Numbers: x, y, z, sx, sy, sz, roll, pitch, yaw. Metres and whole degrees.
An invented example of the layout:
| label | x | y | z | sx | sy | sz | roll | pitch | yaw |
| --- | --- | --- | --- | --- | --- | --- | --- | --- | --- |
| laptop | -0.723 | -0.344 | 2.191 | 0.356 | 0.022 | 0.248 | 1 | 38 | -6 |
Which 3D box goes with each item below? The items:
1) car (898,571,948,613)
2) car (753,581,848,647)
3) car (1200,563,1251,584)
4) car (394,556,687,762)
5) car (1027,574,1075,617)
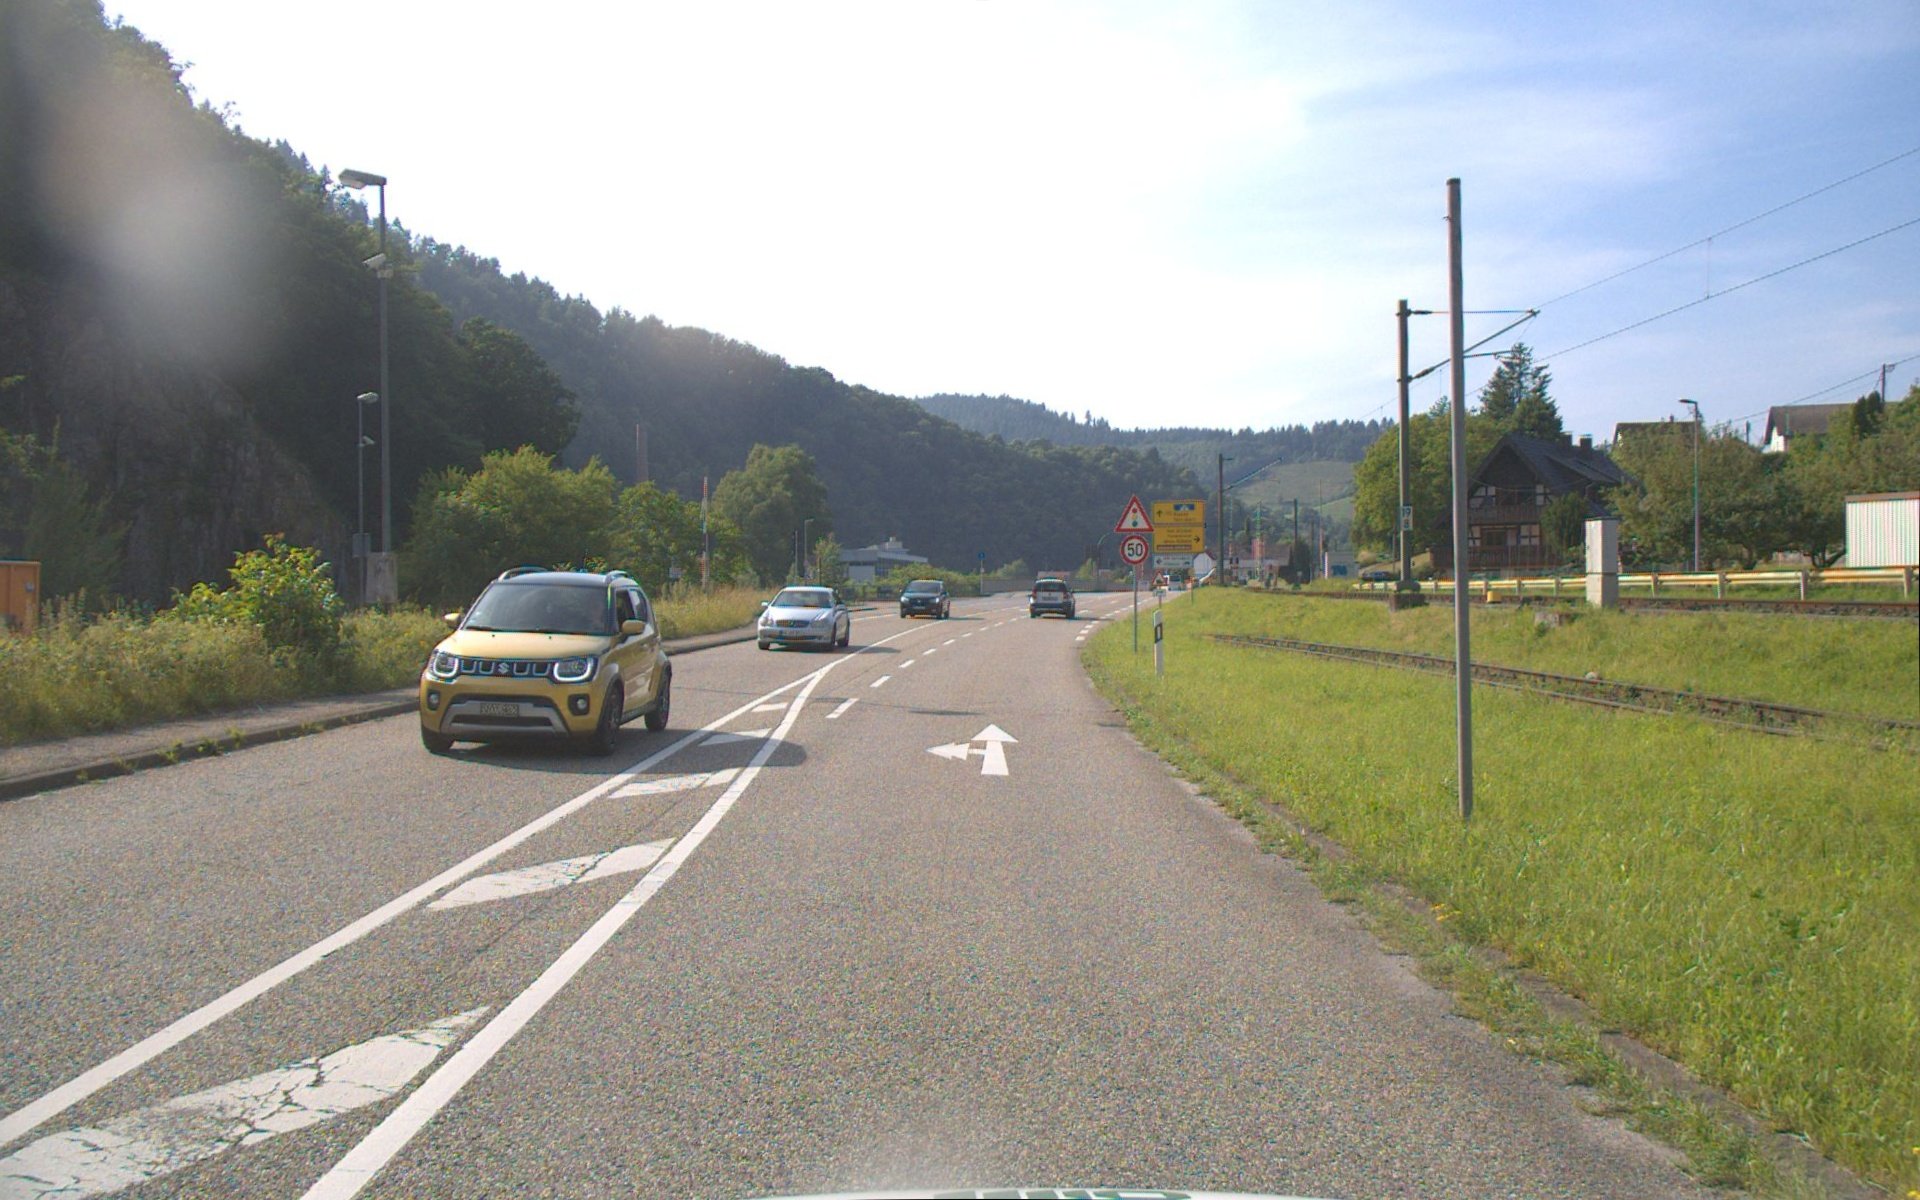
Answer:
| label | x | y | z | sx | sy | sz | roll | pitch | yaw |
| --- | --- | --- | --- | --- | --- | --- | --- | --- | --- |
| car | -1.479 | -0.333 | 67.941 | 1.809 | 1.612 | 4.317 | 1 | 1 | 2 |
| car | -3.630 | 0.284 | 38.378 | 1.742 | 1.371 | 4.510 | 2 | 0 | 0 |
| car | 28.892 | -2.837 | 180.322 | 5.170 | 2.049 | 2.000 | -2 | 0 | 0 |
| car | -3.763 | 0.471 | 15.495 | 1.688 | 1.653 | 3.797 | 1 | 0 | 1 |
| car | 3.941 | -0.201 | 72.197 | 1.952 | 1.753 | 3.991 | -2 | 0 | 2 |
